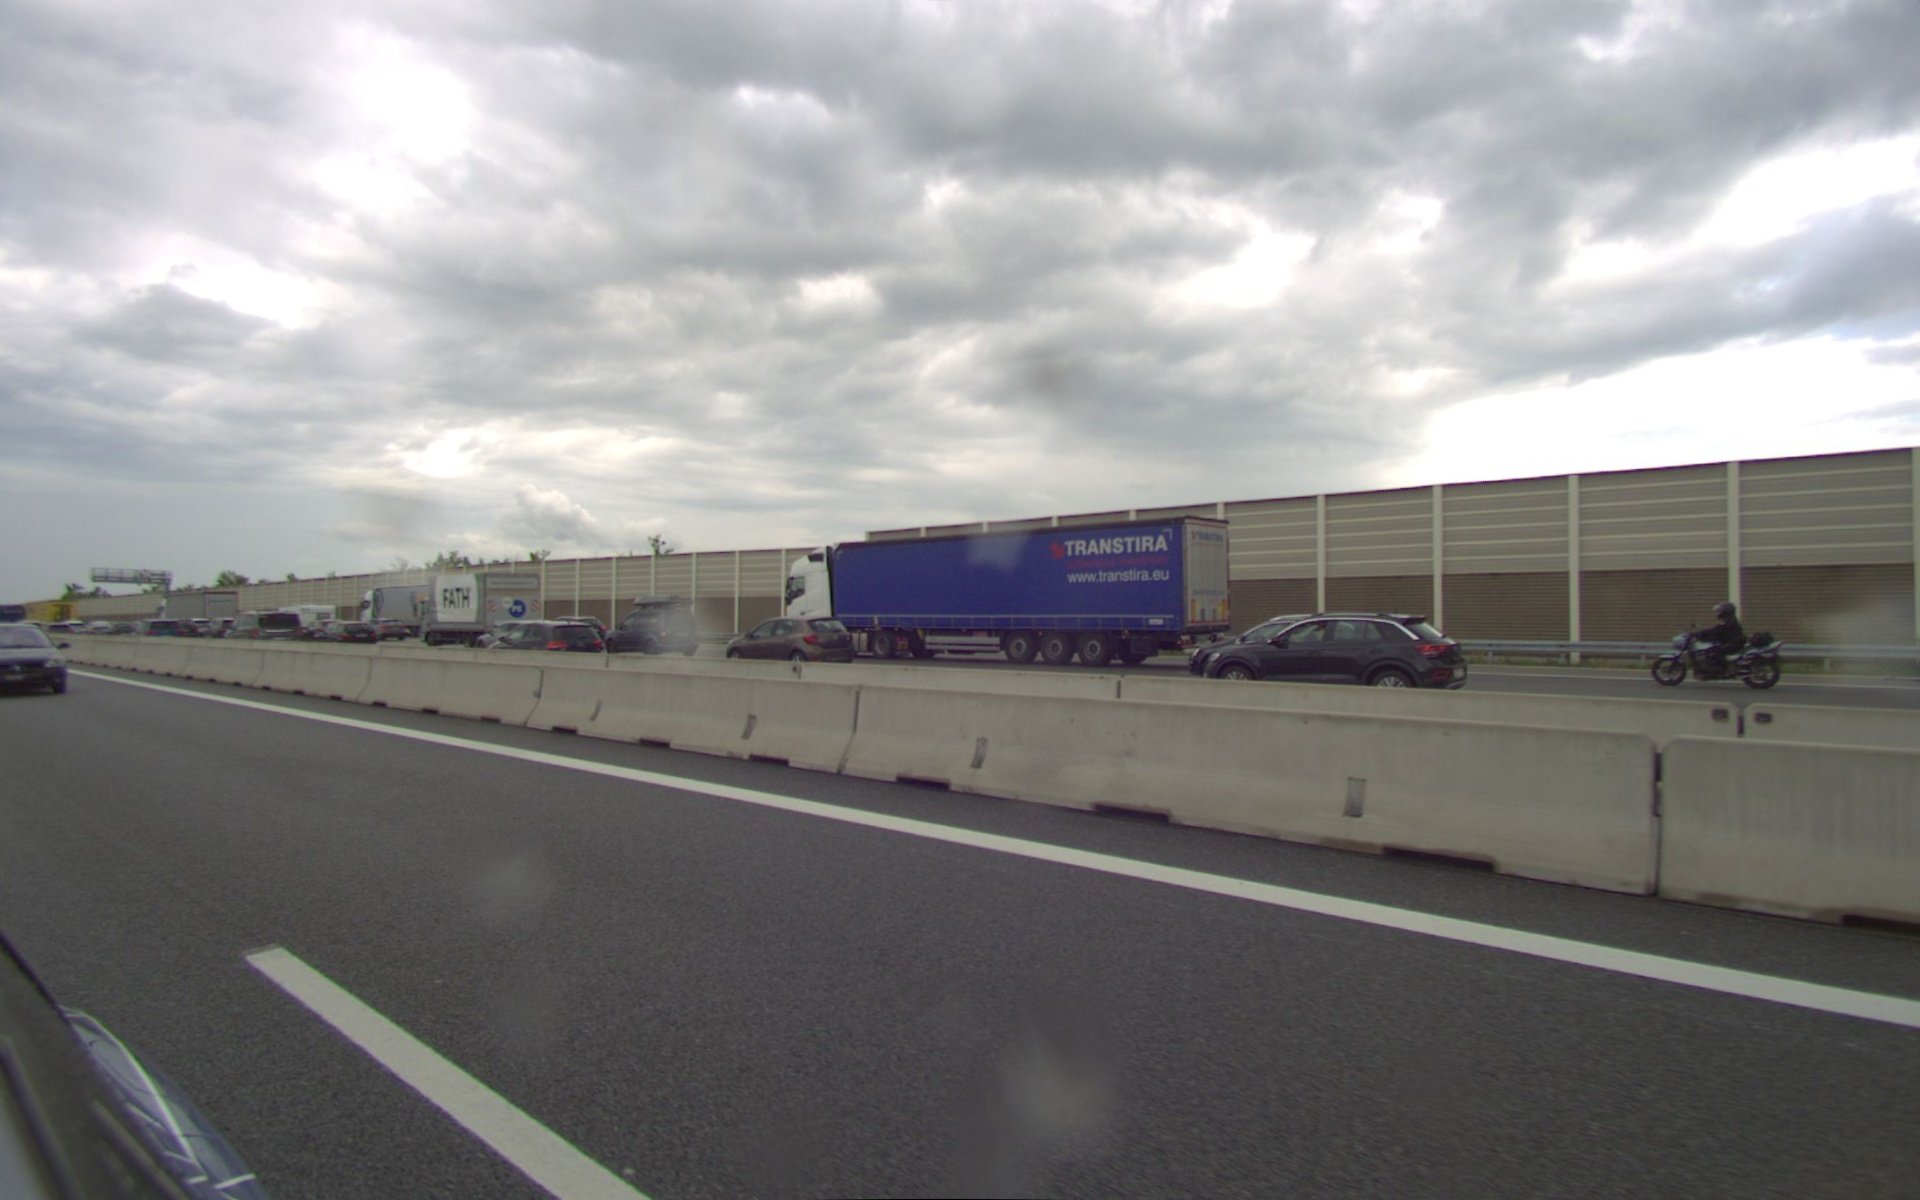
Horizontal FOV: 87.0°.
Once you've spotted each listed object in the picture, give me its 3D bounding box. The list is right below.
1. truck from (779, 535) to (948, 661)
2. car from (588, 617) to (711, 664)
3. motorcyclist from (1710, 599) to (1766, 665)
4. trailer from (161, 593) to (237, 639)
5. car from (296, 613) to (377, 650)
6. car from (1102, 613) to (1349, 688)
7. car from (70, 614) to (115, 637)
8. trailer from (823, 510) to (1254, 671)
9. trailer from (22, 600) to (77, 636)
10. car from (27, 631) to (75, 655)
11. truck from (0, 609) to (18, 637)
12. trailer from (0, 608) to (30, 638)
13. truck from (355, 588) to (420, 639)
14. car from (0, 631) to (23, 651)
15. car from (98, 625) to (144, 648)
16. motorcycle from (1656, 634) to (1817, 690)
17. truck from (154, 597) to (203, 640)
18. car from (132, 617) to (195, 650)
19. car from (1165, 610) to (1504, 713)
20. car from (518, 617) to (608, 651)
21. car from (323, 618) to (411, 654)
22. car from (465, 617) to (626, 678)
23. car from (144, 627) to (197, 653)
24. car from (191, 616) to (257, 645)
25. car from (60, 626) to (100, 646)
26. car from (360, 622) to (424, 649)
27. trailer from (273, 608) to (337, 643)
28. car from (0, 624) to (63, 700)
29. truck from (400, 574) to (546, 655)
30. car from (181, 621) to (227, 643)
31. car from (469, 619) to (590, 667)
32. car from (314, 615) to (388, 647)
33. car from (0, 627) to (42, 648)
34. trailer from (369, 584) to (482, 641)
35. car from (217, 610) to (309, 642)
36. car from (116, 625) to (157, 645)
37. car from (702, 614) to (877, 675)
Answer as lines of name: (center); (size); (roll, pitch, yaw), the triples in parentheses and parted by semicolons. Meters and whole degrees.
truck: (-3.472, -0.012, 35.688); (5.722, 4.065, 2.717); (-1, -1, 41)
car: (-11.586, 1.441, 37.616); (4.994, 1.612, 2.039); (-1, -1, 41)
motorcyclist: (15.031, 0.602, 19.547); (0.796, 1.233, 0.630); (-2, 0, 41)
trailer: (-71.297, 1.519, 94.658); (14.444, 4.062, 2.733); (-1, -1, 41)
car: (-30.160, 1.527, 48.901); (5.011, 1.712, 1.854); (-2, -2, 40)
car: (5.818, 1.042, 22.624); (4.997, 1.502, 2.038); (-1, -1, 43)
car: (-74.003, 2.184, 86.338); (5.107, 1.830, 2.041); (-2, -2, 39)
trailer: (1.628, -0.112, 31.284); (14.442, 4.062, 2.733); (-1, -1, 41)
trailer: (-107.535, 2.143, 119.445); (14.438, 4.062, 2.734); (-1, -1, 40)
car: (-67.521, 3.193, 75.153); (4.405, 1.712, 1.936); (-2, -2, 39)
truck: (-138.608, 3.398, 145.866); (11.058, 3.975, 2.908); (-2, -2, 40)
trailer: (-130.532, 3.167, 138.959); (10.111, 3.969, 2.901); (-2, -2, 40)
truck: (-46.940, 1.140, 82.981); (5.722, 4.065, 2.887); (-1, -1, 40)
car: (-89.625, 3.827, 94.780); (4.772, 1.830, 2.041); (-2, -2, 39)
car: (-66.906, 2.894, 80.682); (4.405, 1.712, 1.936); (-2, -2, 39)
motorcycle: (15.008, 1.170, 19.619); (2.430, 1.015, 0.512); (-2, 0, 41)
truck: (-76.862, 1.811, 99.467); (5.722, 4.065, 2.717); (-1, -1, 40)
car: (-43.697, 1.816, 55.487); (4.218, 1.712, 1.854); (-1, -1, 40)
car: (6.187, 0.928, 17.151); (4.997, 1.502, 2.038); (-1, -1, 43)
car: (-19.611, 1.630, 49.873); (4.994, 1.612, 2.039); (-1, -1, 41)
car: (-27.039, 1.592, 46.089); (4.995, 1.502, 2.038); (-1, -1, 42)
car: (-11.400, 1.221, 27.694); (4.994, 1.502, 2.039); (-1, -1, 41)
car: (-54.434, 2.740, 69.740); (4.405, 1.712, 1.936); (-2, -2, 39)
car: (-44.641, 1.842, 61.378); (5.083, 1.712, 2.040); (-2, -2, 39)
car: (-82.435, 3.375, 94.793); (4.772, 1.830, 2.041); (-2, -2, 39)
car: (-37.343, 2.346, 66.504); (5.084, 1.712, 2.040); (-2, -2, 40)
trailer: (-48.762, 1.925, 75.259); (6.081, 2.514, 2.434); (-2, -2, 41)
car: (-19.462, 1.214, 20.389); (3.997, 1.413, 1.558); (-1, -1, 40)
truck: (-23.527, 0.698, 48.541); (9.992, 3.554, 2.668); (-1, 0, 42)
car: (-60.561, 2.534, 81.045); (4.405, 1.712, 1.936); (-2, -2, 39)
car: (-15.580, 1.494, 36.521); (4.994, 1.612, 2.039); (-1, -1, 41)
car: (-34.486, 1.747, 57.267); (5.084, 1.712, 2.040); (-2, -2, 40)
car: (-78.155, 3.097, 84.182); (4.887, 1.712, 1.936); (-2, -2, 39)
trailer: (-41.540, 1.020, 78.340); (13.851, 4.062, 2.905); (-1, -1, 41)
car: (-30.295, 1.143, 43.913); (5.595, 1.309, 1.854); (-2, -2, 40)
car: (-72.838, 3.084, 89.494); (4.405, 1.712, 1.936); (-2, -2, 39)
car: (-4.676, 1.134, 27.299); (4.997, 1.502, 2.038); (-1, -1, 43)
